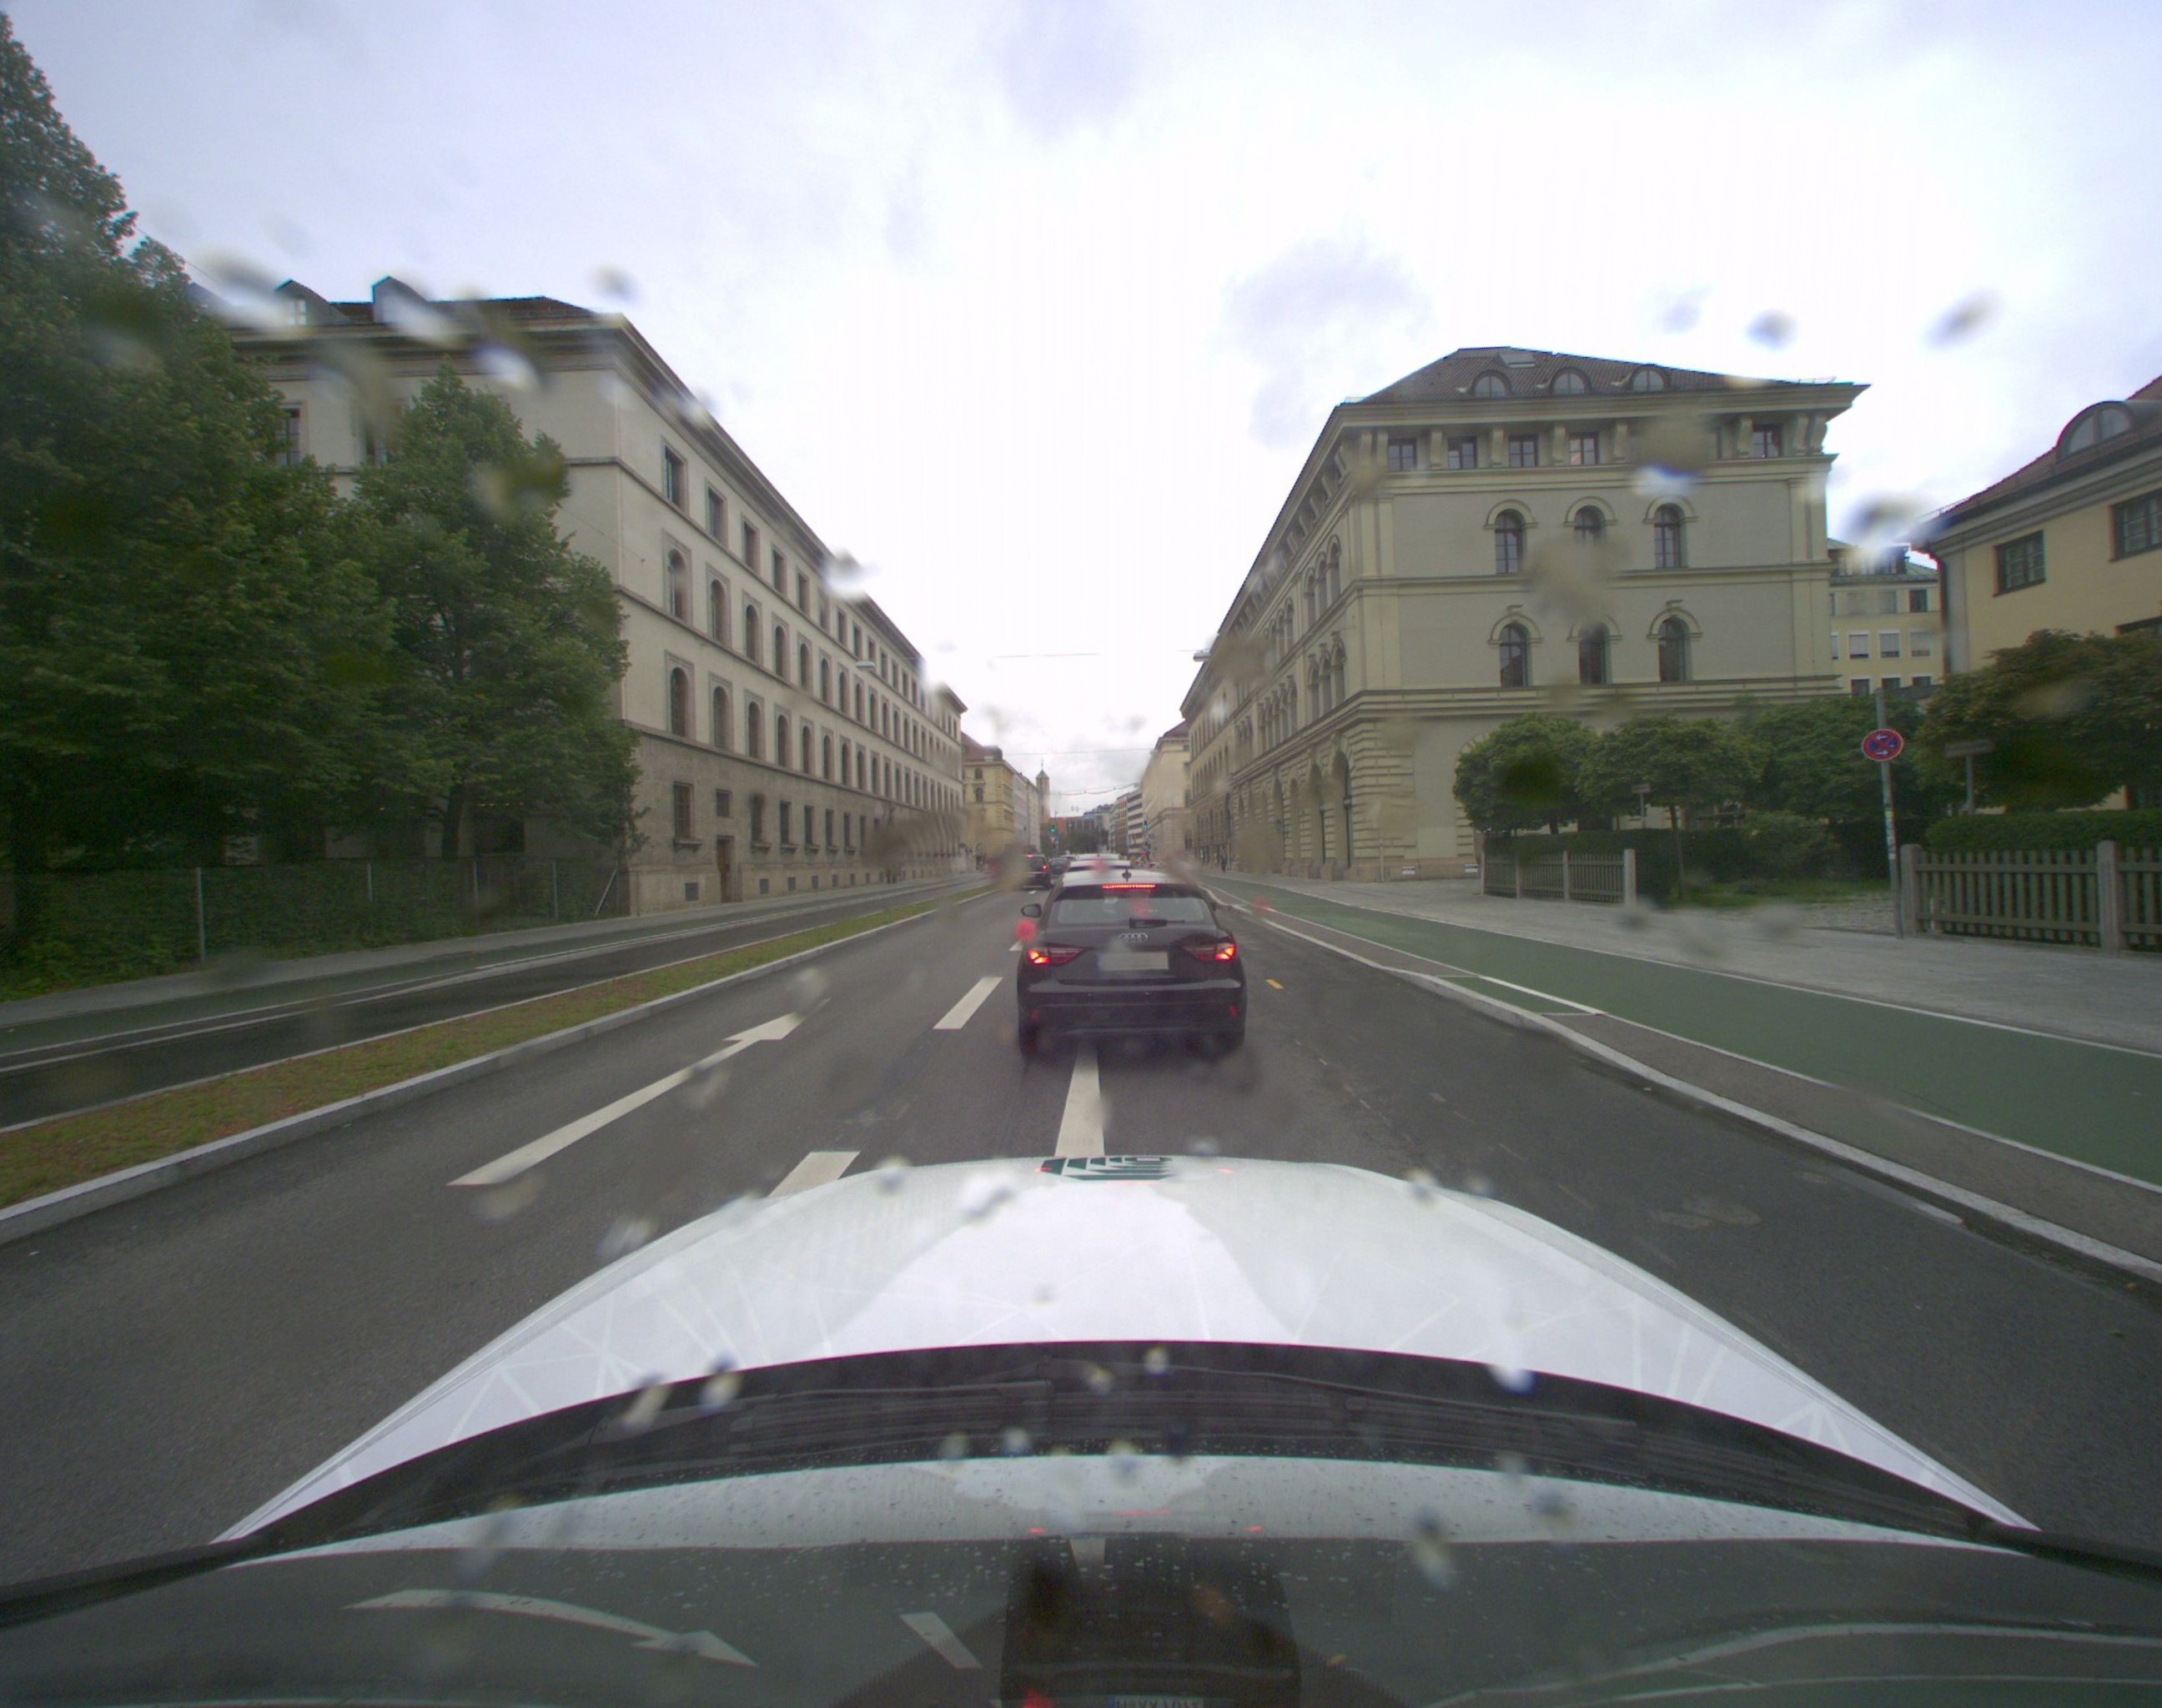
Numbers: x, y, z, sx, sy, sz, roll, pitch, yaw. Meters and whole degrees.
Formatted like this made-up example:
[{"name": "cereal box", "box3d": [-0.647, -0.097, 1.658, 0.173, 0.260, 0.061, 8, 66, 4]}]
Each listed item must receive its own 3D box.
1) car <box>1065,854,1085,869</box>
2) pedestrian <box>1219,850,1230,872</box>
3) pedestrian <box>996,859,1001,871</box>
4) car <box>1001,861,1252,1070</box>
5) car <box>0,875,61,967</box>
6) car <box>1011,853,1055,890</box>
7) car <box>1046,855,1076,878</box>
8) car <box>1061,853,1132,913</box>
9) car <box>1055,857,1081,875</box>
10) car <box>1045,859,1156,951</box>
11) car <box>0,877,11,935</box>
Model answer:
[{"name": "car", "box3d": [-0.635, 0.803, 88.293, 1.986, 1.444, 4.002, -2, 0, 2]}, {"name": "pedestrian", "box3d": [11.100, 0.536, 62.902, 0.707, 1.618, 0.754, -2, 0, 1]}, {"name": "pedestrian", "box3d": [-12.703, 1.721, 125.700, 0.653, 1.805, 0.727, -2, 0, 1]}, {"name": "car", "box3d": [0.368, 0.785, 7.629, 1.724, 1.403, 4.001, 0, 0, 1]}, {"name": "car", "box3d": [-21.876, 1.316, 14.859, 4.247, 1.649, 1.805, -2, 0, 1]}, {"name": "car", "box3d": [-2.209, 0.769, 38.400, 1.758, 1.616, 4.031, -1, 0, 1]}, {"name": "car", "box3d": [-1.491, 0.896, 61.773, 1.986, 1.627, 4.002, -2, 0, 2]}, {"name": "car", "box3d": [0.435, 0.719, 21.939, 1.724, 1.461, 4.001, 0, 0, 1]}, {"name": "car", "box3d": [-1.127, 1.034, 71.166, 1.986, 1.444, 4.002, -2, 0, 2]}, {"name": "car", "box3d": [0.364, 0.819, 14.750, 1.724, 1.403, 4.001, 0, 0, 1]}, {"name": "car", "box3d": [-31.832, 1.511, 21.550, 1.659, 1.640, 4.001, -1, 0, 1]}]
